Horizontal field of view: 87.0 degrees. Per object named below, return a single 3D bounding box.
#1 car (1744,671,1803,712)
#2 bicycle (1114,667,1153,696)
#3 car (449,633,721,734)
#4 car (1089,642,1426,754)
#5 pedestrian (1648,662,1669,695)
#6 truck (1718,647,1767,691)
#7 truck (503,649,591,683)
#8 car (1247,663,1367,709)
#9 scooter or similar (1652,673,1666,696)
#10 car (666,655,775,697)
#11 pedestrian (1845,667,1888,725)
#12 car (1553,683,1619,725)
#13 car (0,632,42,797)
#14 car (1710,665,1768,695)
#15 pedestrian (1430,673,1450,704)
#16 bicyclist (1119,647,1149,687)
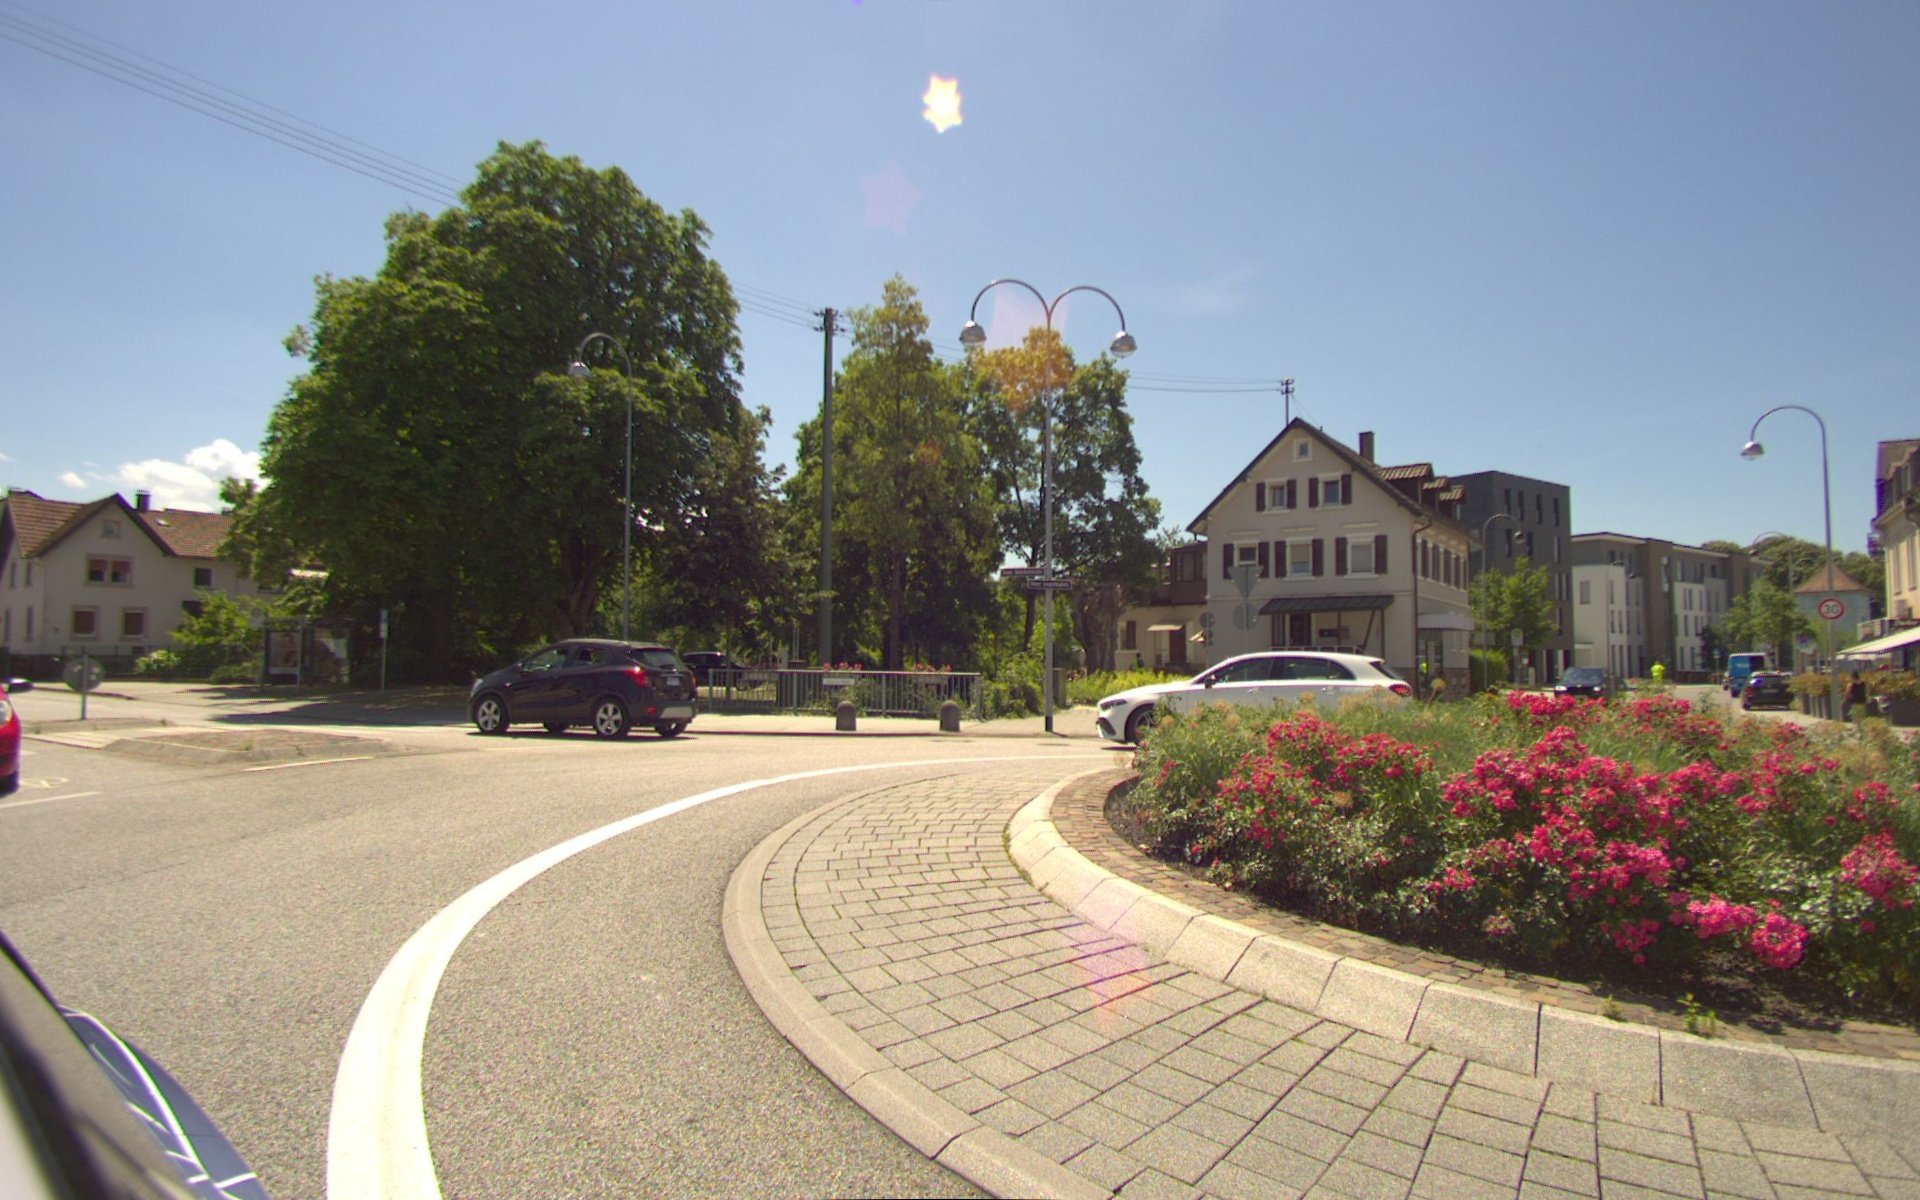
[{"bbox_3d":[32.767,3.646,40.752,1.682,1.558,3.893,-5,-6,40],"label":"car"},{"bbox_3d":[7.696,3.609,44.954,0.797,1.164,1.858,5,-3,-21],"label":"bicycle"},{"bbox_3d":[-6.497,1.450,17.604,4.139,1.574,1.985,-1,-6,23],"label":"car"},{"bbox_3d":[4.114,1.395,14.259,4.256,1.392,1.919,-2,-7,21],"label":"car"},{"bbox_3d":[43.891,4.948,63.606,0.921,2.045,0.888,-3,-5,43],"label":"pedestrian"},{"bbox_3d":[45.120,3.972,58.330,1.960,2.388,4.279,-5,-6,40],"label":"truck"},{"bbox_3d":[-31.573,5.068,77.417,6.110,2.462,2.272,2,-6,-24],"label":"truck"},{"bbox_3d":[13.331,3.278,38.968,3.995,1.608,1.771,-1,-5,39],"label":"car"},{"bbox_3d":[43.920,5.304,63.610,0.527,1.383,1.328,-3,-5,42],"label":"scooter or similar"},{"bbox_3d":[-9.761,3.092,41.443,3.948,1.614,1.840,0,-4,4],"label":"car"},{"bbox_3d":[24.431,2.578,27.283,0.627,1.536,0.794,-5,-6,34],"label":"pedestrian"},{"bbox_3d":[25.521,4.205,41.220,1.753,1.558,3.545,-5,-6,40],"label":"car"},{"bbox_3d":[-10.966,1.162,10.256,3.994,1.545,1.811,-3,-2,38],"label":"car"},{"bbox_3d":[58.615,6.022,76.130,4.374,2.124,1.937,3,-3,-31],"label":"car"},{"bbox_3d":[20.120,3.701,42.424,0.683,1.296,0.574,-2,-4,34],"label":"pedestrian"},{"bbox_3d":[7.744,2.974,44.992,0.797,1.647,1.066,5,-3,-19],"label":"bicyclist"}]
